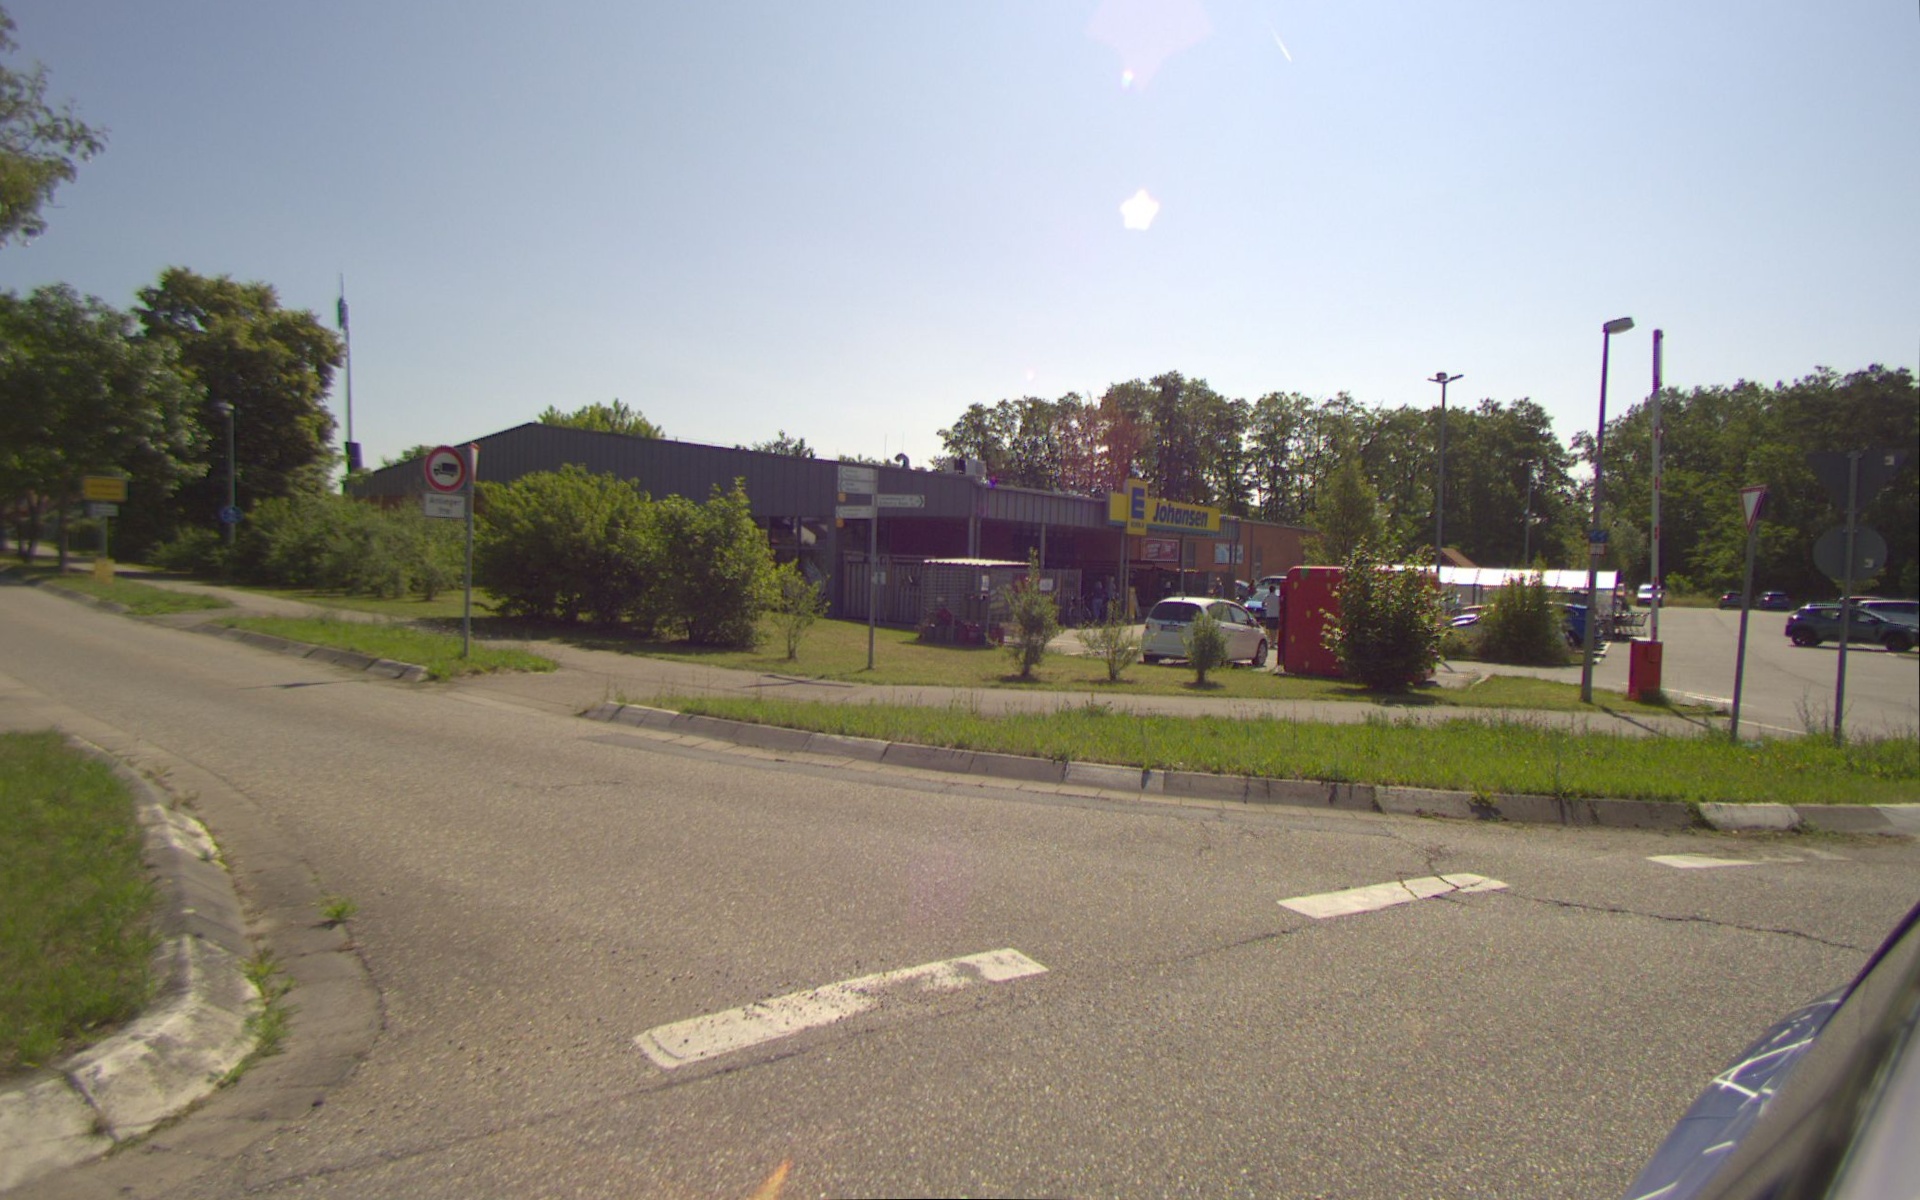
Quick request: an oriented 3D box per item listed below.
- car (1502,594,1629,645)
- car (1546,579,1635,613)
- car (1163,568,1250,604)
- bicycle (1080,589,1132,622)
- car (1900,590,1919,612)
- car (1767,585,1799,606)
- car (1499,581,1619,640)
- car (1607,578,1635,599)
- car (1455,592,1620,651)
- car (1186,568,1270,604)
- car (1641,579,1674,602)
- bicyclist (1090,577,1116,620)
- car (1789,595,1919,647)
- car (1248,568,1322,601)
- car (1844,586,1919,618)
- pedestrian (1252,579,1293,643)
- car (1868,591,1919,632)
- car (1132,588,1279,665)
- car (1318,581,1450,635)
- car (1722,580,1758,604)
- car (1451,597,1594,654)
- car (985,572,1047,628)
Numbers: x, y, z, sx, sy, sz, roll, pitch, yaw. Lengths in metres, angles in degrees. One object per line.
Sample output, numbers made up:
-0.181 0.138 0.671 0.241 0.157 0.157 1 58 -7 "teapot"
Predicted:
21.056 0.646 35.273 3.482 1.516 1.689 4 2 43 "car"
35.901 -0.255 57.676 3.986 1.682 1.970 4 2 42 "car"
12.964 -0.751 53.229 3.971 1.704 1.977 3 2 32 "car"
5.338 0.185 37.027 0.543 1.054 2.076 1 3 -37 "bicycle"
70.487 0.113 73.984 2.060 1.504 3.948 4 3 36 "car"
63.647 -0.366 78.295 1.653 1.504 4.316 4 3 36 "car"
22.215 0.355 37.593 3.482 1.952 1.849 4 2 43 "car"
55.193 -0.982 84.484 1.785 1.615 4.208 4 3 35 "car"
18.829 0.644 33.118 4.409 1.590 1.691 4 2 40 "car"
14.536 -0.777 54.847 3.971 1.704 1.977 3 2 32 "car"
57.088 -0.774 82.835 2.060 1.732 3.948 4 3 36 "car"
5.253 -0.072 37.144 0.596 1.533 0.677 1 2 -37 "bicyclist"
32.806 0.725 36.657 1.631 1.608 3.999 0 3 -38 "car"
20.102 -0.994 62.583 3.971 1.838 1.977 4 3 32 "car"
51.911 0.130 56.335 3.984 1.604 1.942 4 3 41 "car"
9.528 0.321 30.871 0.823 1.894 0.776 1 2 -23 "pedestrian"
42.283 0.490 43.557 4.533 1.723 1.974 1 1 36 "car"
5.511 0.550 22.434 1.718 1.464 3.719 4 2 38 "car"
15.106 0.239 36.135 3.980 1.642 1.887 4 2 38 "car"
61.752 -0.646 80.188 2.060 1.732 3.948 4 3 36 "car"
17.218 0.738 31.060 3.482 1.475 1.689 4 2 43 "car"
1.784 -0.011 31.910 1.124 1.655 1.805 3 2 37 "car"
